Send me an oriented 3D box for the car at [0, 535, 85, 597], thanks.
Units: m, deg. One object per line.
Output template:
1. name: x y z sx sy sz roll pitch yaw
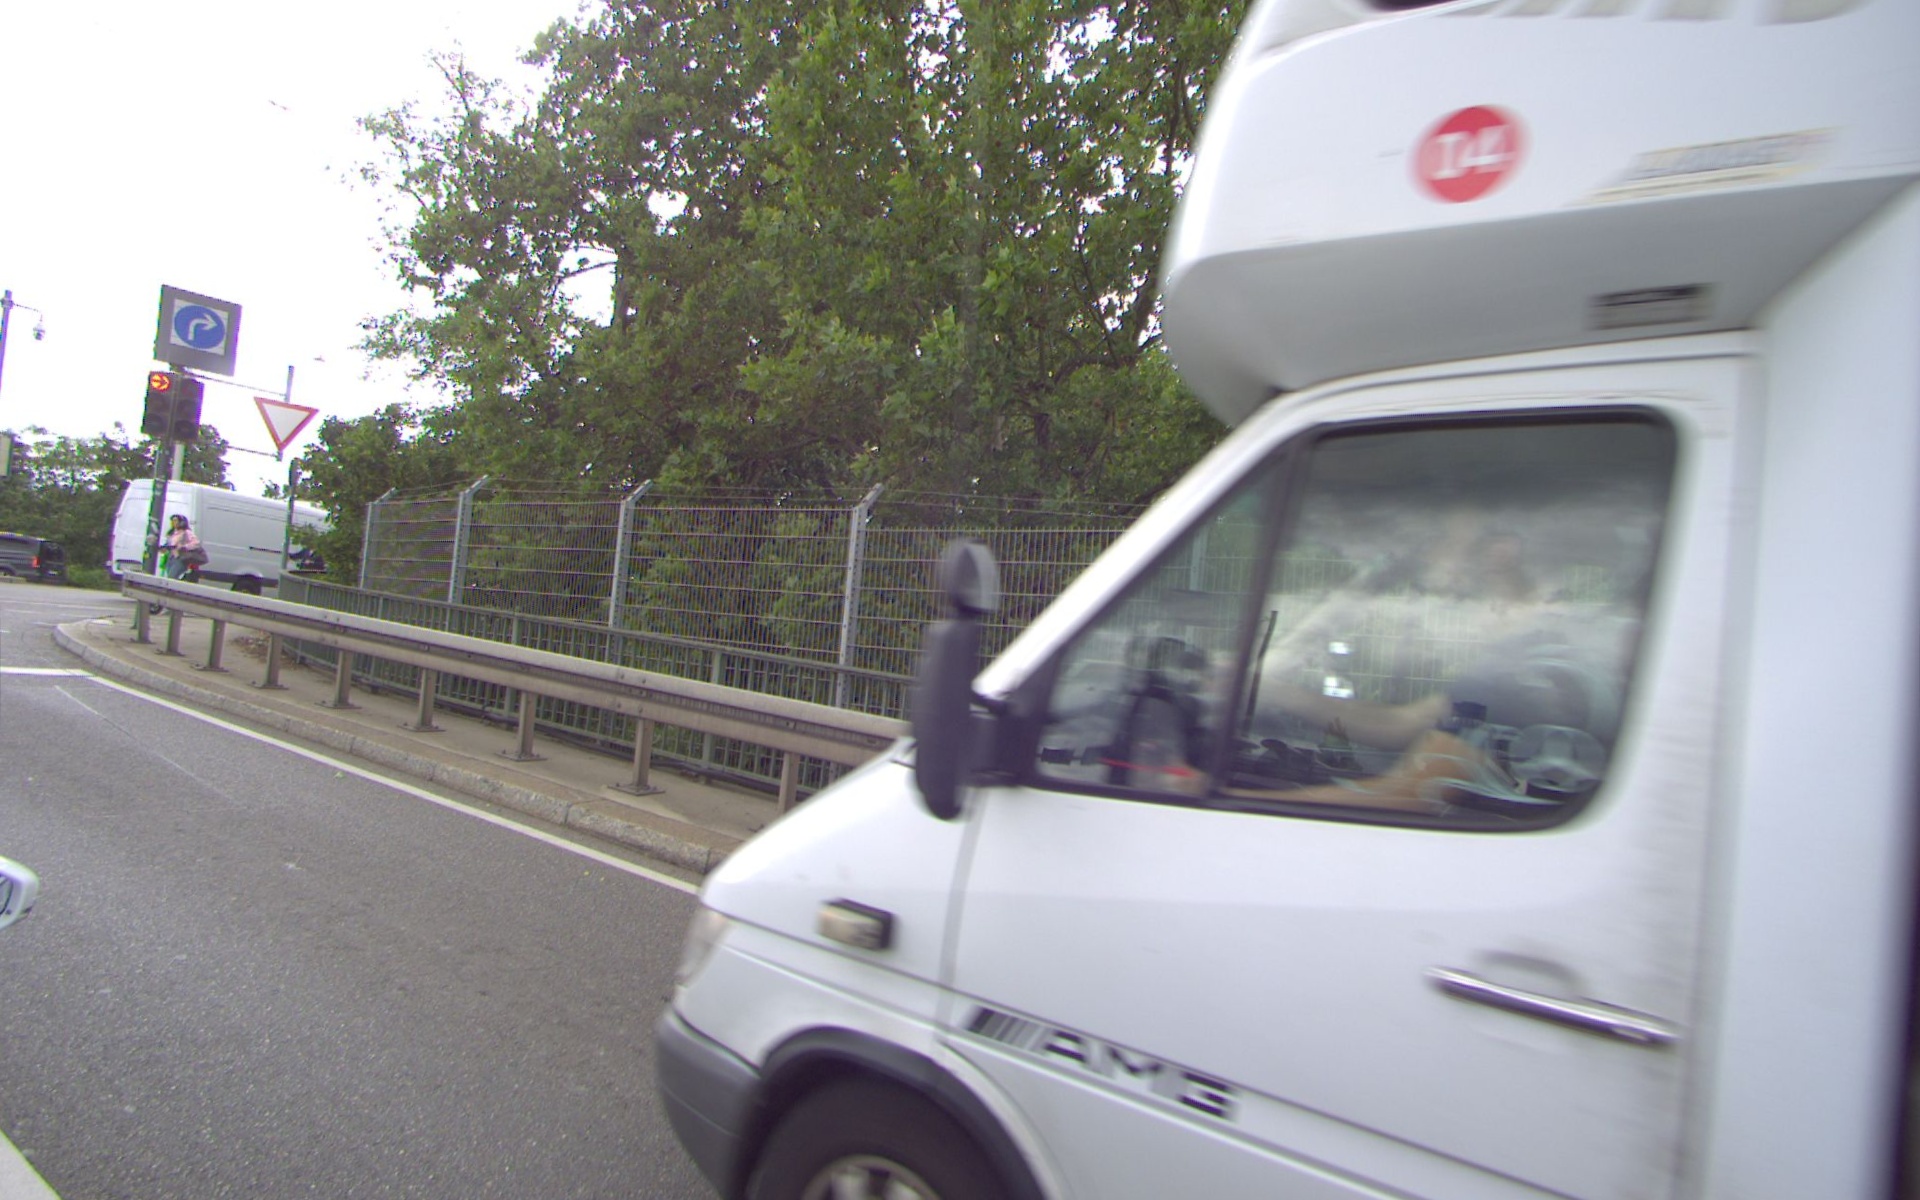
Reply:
1. car: -33.408 -1.373 34.048 5.169 1.792 1.995 8 -1 -21

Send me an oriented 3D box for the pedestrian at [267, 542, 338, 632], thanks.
1. pedestrian: -12.792 -0.246 19.596 0.770 1.639 0.677 7 0 -5

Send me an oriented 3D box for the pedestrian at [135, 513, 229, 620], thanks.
1. pedestrian: -13.247 -0.564 17.144 0.963 1.698 0.834 4 -2 29

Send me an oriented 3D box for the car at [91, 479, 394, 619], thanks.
1. car: -16.784 -1.201 24.244 2.076 2.822 6.772 2 3 4

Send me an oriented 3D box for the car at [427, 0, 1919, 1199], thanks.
1. car: 2.797 0.173 1.147 6.974 3.369 2.663 6 -1 32

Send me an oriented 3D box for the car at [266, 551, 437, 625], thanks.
1. car: -18.588 -0.323 30.868 1.784 1.684 3.991 7 -1 34
